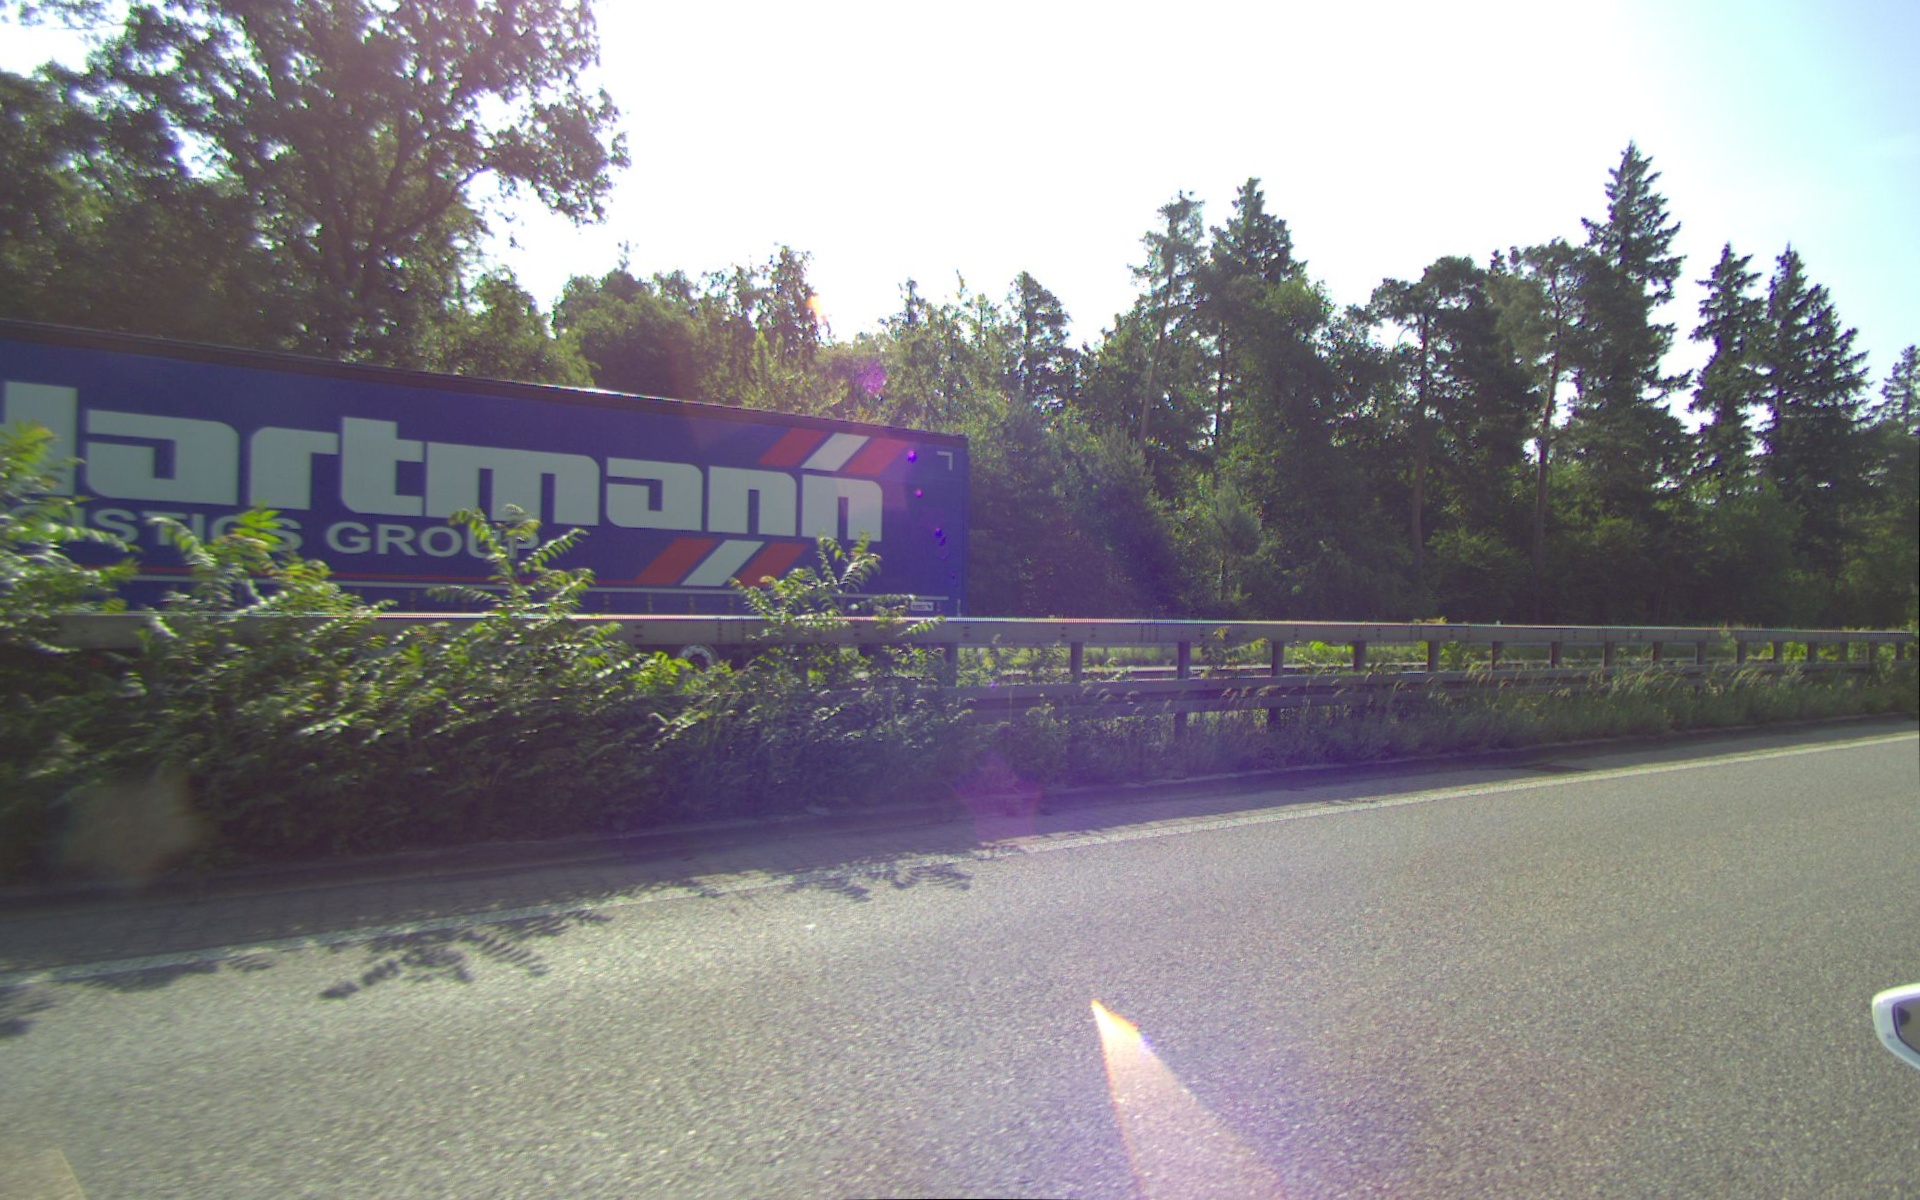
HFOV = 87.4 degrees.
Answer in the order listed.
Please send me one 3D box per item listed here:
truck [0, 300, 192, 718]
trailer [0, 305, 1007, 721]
[{"bbox_3d":[-11.719,-0.899,10.079,5.955,4.085,2.879,1,-2,-31],"label":"truck"},{"bbox_3d":[-5.640,-0.708,13.701,13.168,4.061,2.879,1,-2,-31],"label":"trailer"}]
